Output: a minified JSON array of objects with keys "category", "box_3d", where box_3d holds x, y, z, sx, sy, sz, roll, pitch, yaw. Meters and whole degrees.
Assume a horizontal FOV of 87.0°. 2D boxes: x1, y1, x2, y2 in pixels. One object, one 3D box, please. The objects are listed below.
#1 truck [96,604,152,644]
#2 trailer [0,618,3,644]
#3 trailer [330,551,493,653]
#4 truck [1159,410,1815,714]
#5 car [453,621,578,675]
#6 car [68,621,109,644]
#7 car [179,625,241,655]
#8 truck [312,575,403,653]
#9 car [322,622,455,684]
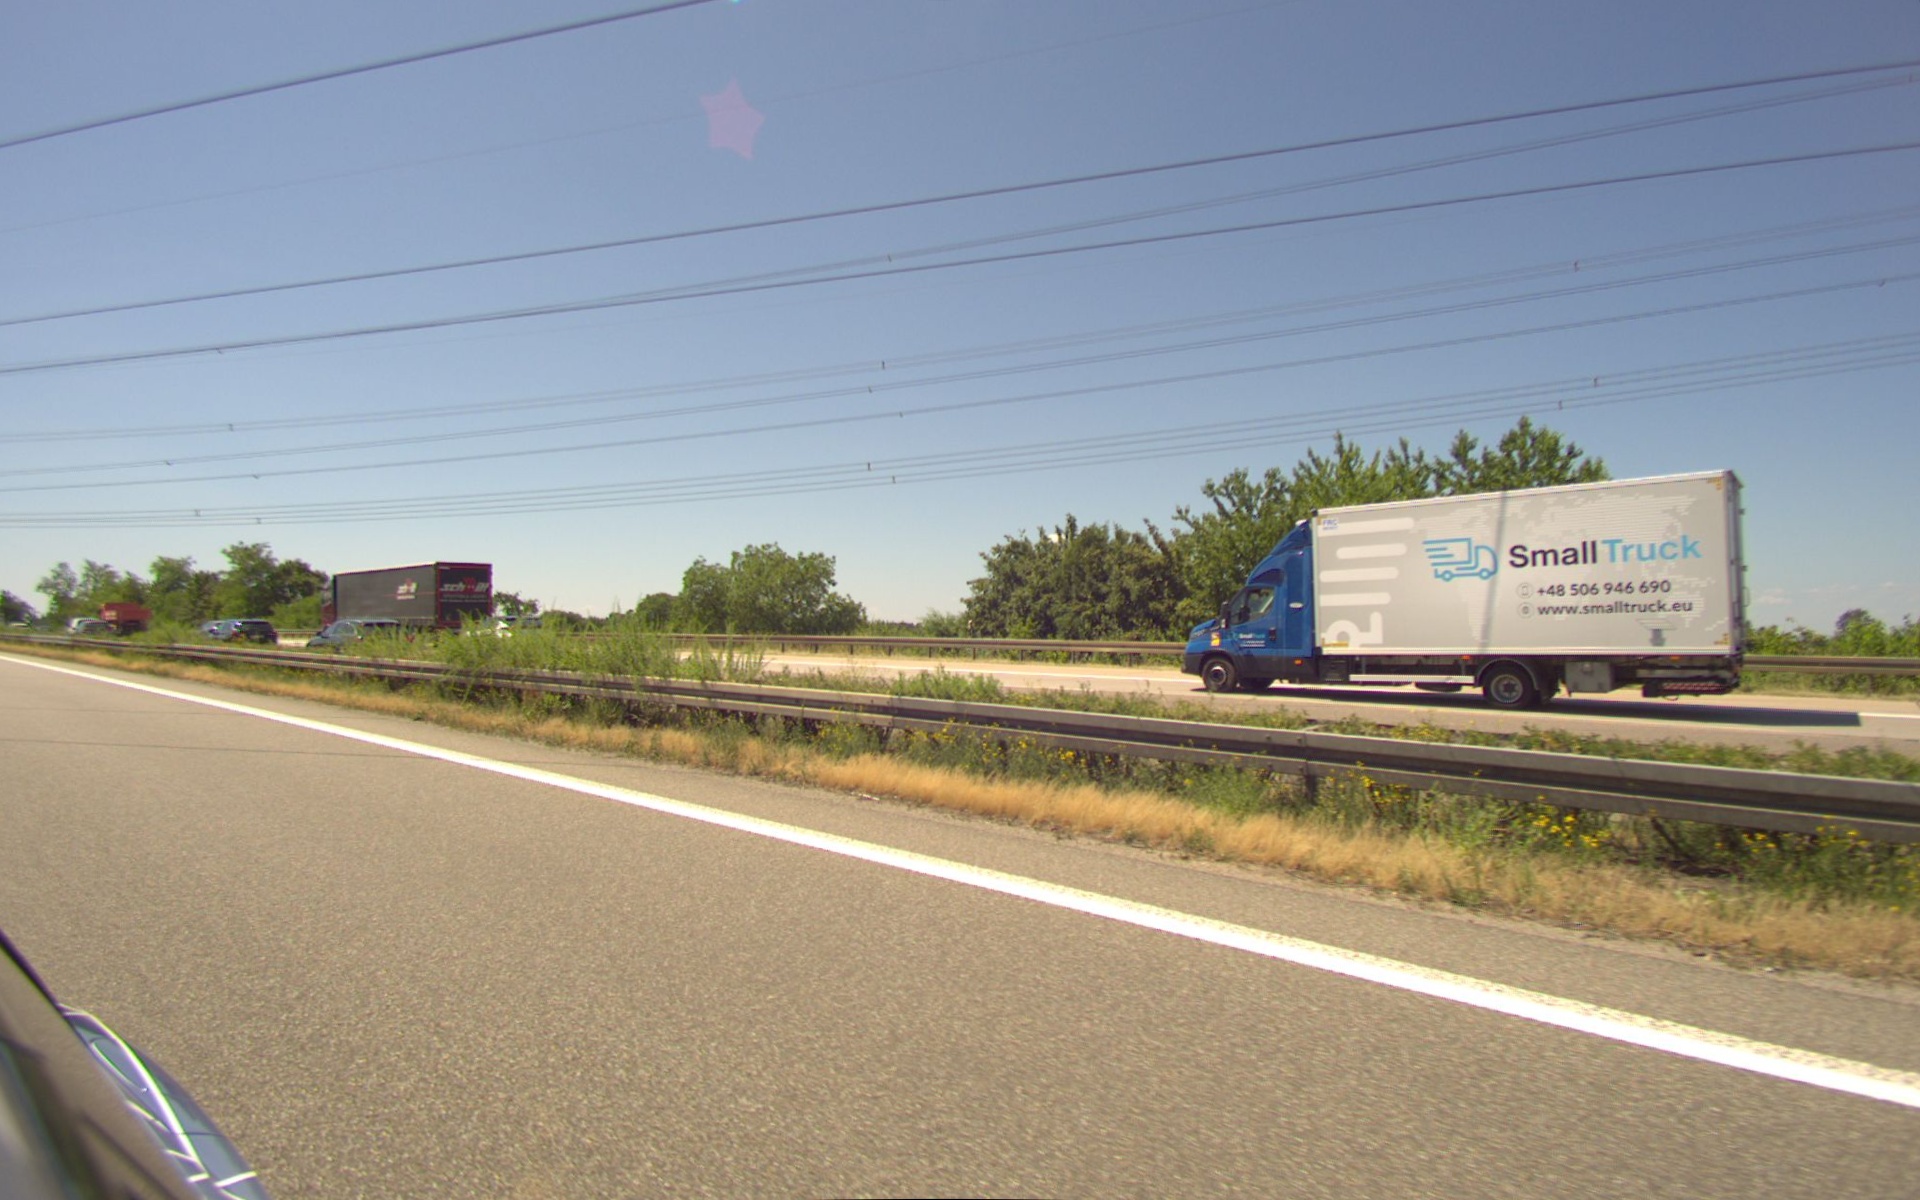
[{"category":"truck","box_3d":[-78.786,2.276,95.278,8.529,3.554,2.741,-2,-2,41]},{"category":"trailer","box_3d":[-154.262,4.977,160.447,8.321,4.196,2.812,-2,-2,40]},{"category":"trailer","box_3d":[-27.825,0.308,50.786,13.859,4.586,2.621,-2,-2,42]},{"category":"truck","box_3d":[8.283,-0.307,17.414,9.667,4.007,2.427,-2,-4,42]},{"category":"car","box_3d":[-14.955,1.588,33.909,5.015,1.630,1.972,-2,-2,42]},{"category":"car","box_3d":[-71.540,2.661,83.075,4.366,1.787,1.950,-2,-2,41]},{"category":"car","box_3d":[-43.336,2.291,58.461,5.015,1.630,1.924,-2,-2,42]},{"category":"truck","box_3d":[-33.112,0.816,55.517,5.989,4.013,2.620,-2,-2,42]},{"category":"car","box_3d":[-16.737,1.516,29.526,5.014,1.631,1.809,-2,-2,41]}]
